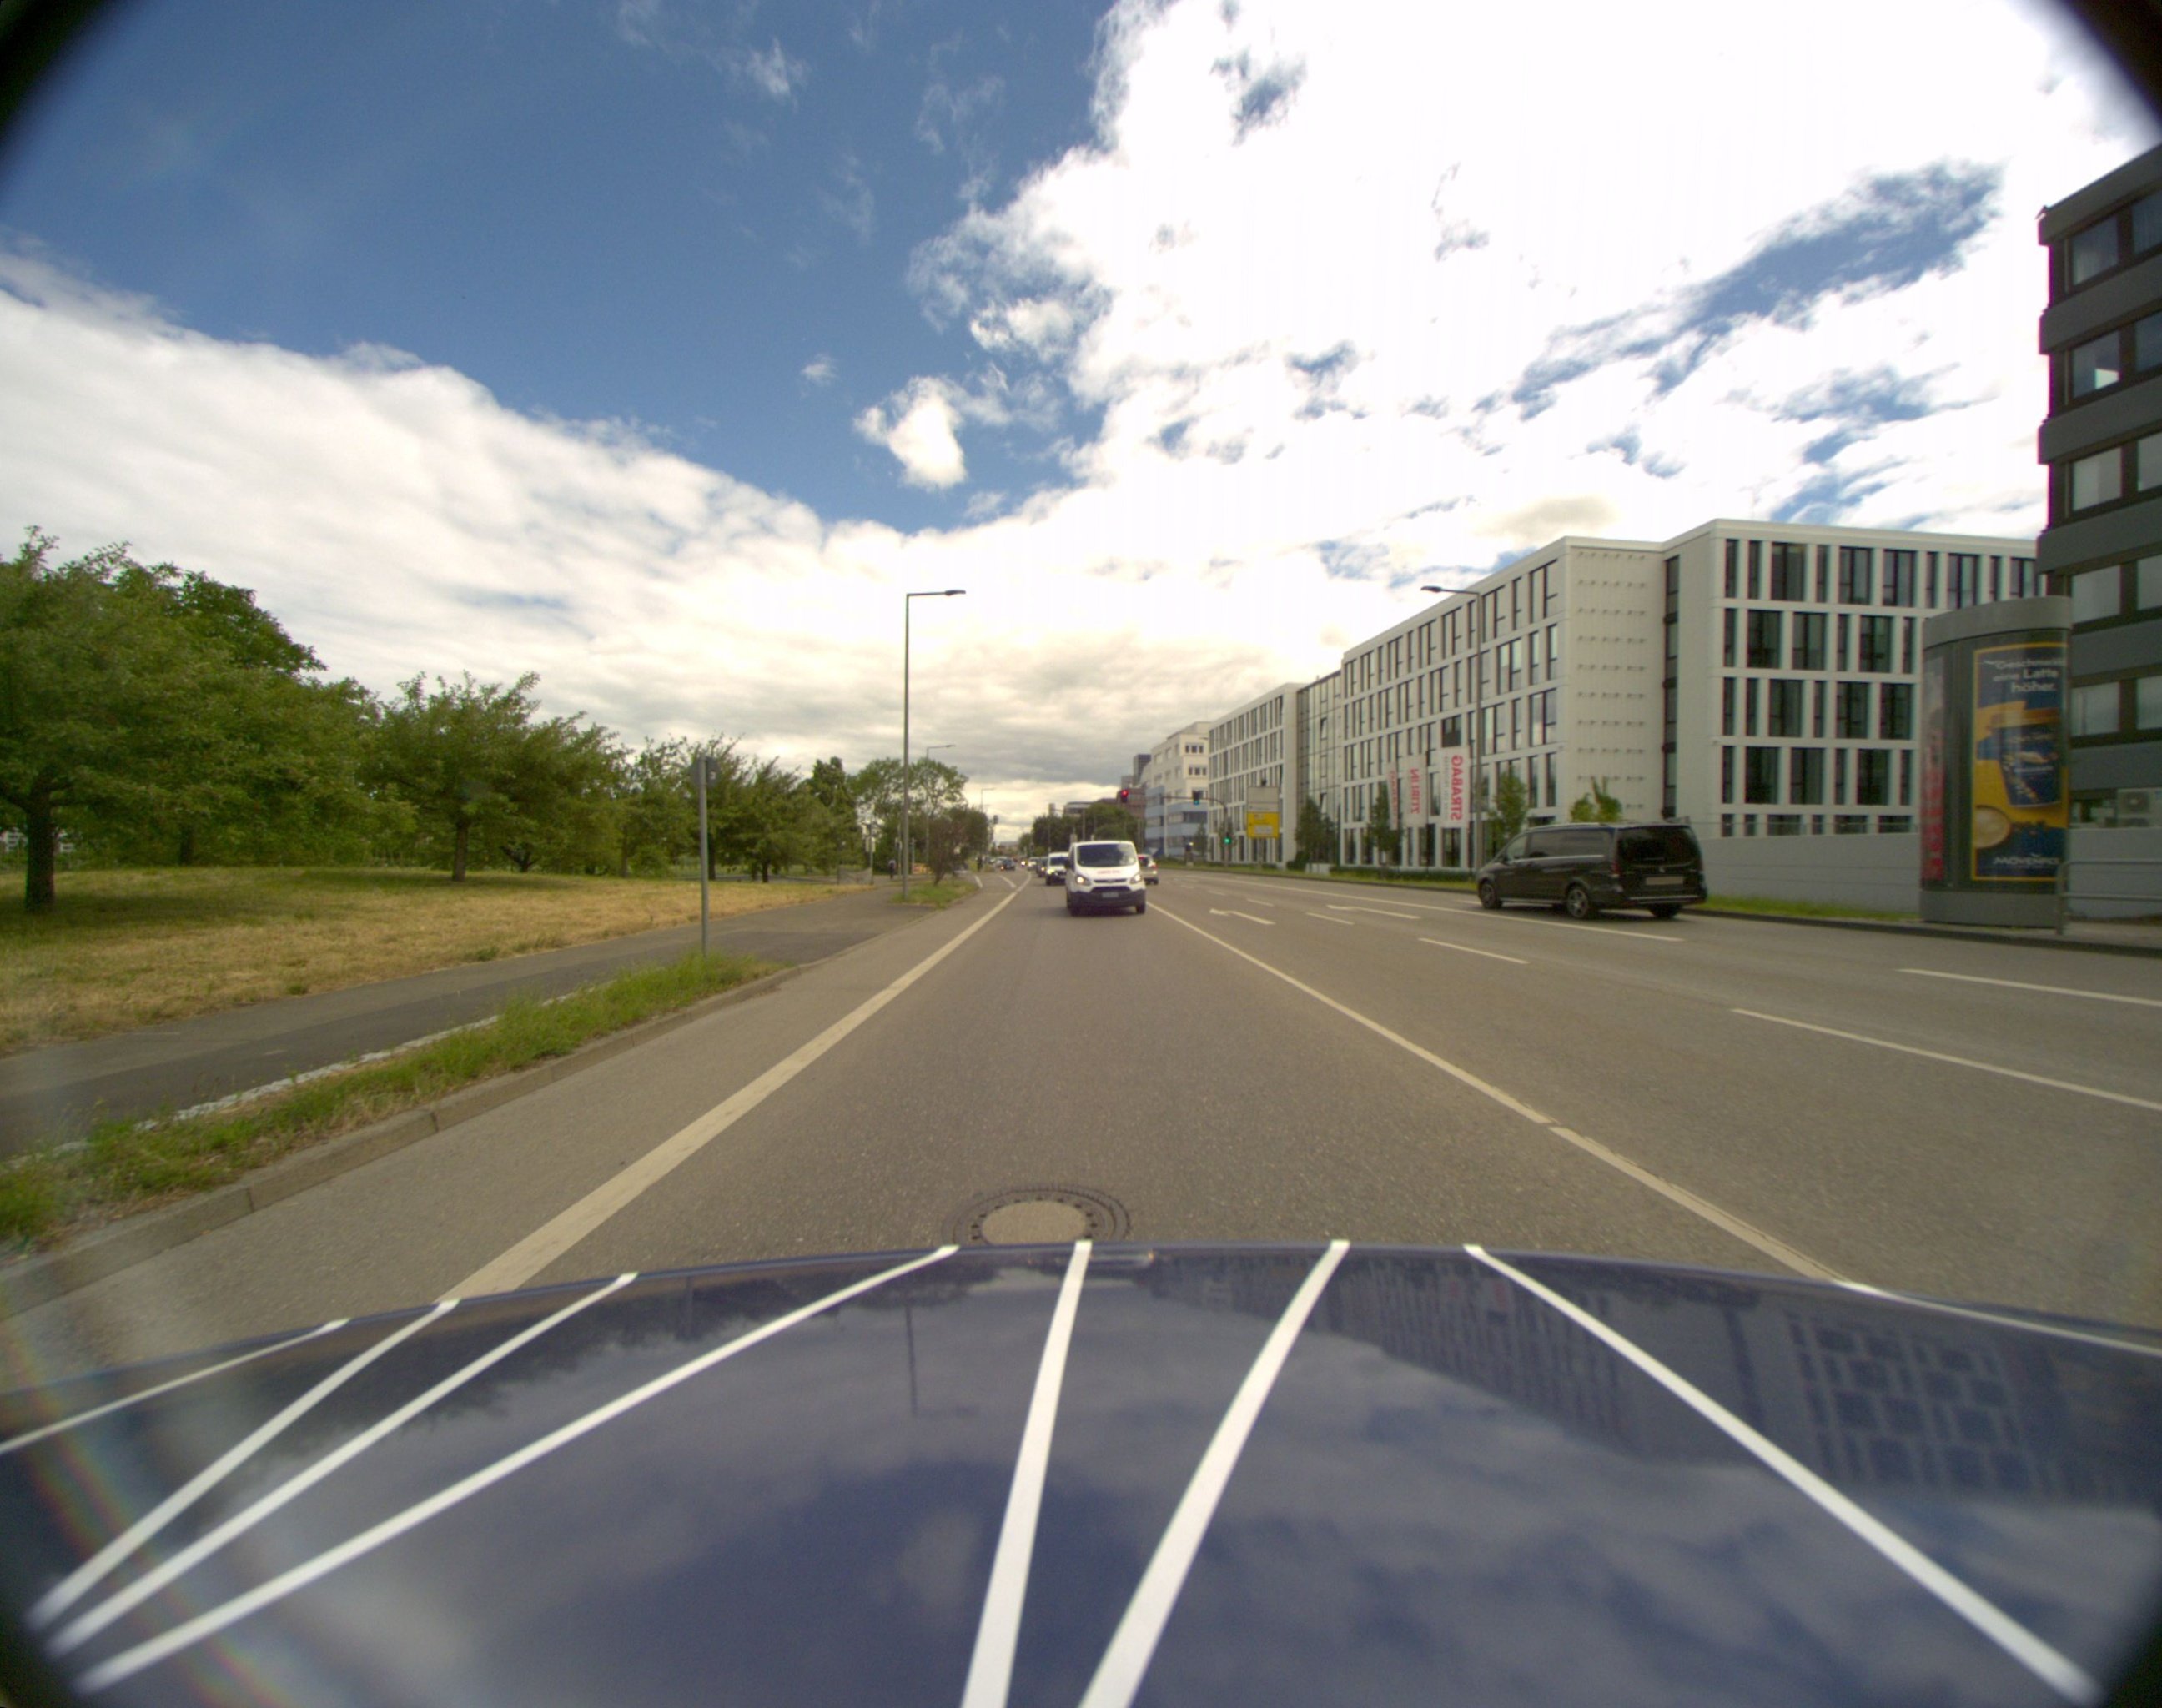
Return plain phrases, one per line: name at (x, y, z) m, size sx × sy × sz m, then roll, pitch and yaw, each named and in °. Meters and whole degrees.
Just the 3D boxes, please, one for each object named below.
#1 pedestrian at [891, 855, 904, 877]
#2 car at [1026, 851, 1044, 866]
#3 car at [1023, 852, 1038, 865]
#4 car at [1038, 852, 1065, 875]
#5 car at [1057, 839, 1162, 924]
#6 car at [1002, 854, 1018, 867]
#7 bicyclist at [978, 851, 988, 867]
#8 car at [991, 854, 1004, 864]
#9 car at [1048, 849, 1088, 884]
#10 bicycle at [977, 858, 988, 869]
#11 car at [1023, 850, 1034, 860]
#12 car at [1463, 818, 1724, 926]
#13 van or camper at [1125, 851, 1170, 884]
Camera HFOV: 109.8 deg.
pedestrian at (-15.573, 1.008, 64.547) m, size 0.802 × 1.872 × 0.764 m, roll -2°, pitch 1°, yaw -37°
car at (-5.318, 0.490, 87.672) m, size 1.873 × 1.685 × 4.369 m, roll -2°, pitch 0°, yaw -5°
car at (-7.318, 0.643, 110.304) m, size 1.873 × 1.685 × 4.368 m, roll -2°, pitch 0°, yaw -7°
car at (-2.369, 0.749, 60.230) m, size 1.873 × 1.685 × 4.369 m, roll -2°, pitch 0°, yaw -5°
car at (0.588, 0.642, 21.197) m, size 2.123 × 1.963 × 6.203 m, roll -2°, pitch 0°, yaw -5°
car at (-8.354, 0.755, 89.754) m, size 1.736 × 1.432 × 4.366 m, roll -2°, pitch 0°, yaw -5°
bicyclist at (-10.462, 0.523, 80.776) m, size 1.017 × 1.698 × 1.200 m, roll 0°, pitch 1°, yaw -10°
car at (-12.113, 0.739, 110.112) m, size 1.736 × 1.432 × 4.366 m, roll -2°, pitch 0°, yaw -5°
car at (-0.786, 0.670, 43.018) m, size 1.873 × 1.836 × 4.369 m, roll -2°, pitch 0°, yaw -5°
bicycle at (-10.467, 1.024, 80.763) m, size 1.017 × 1.127 × 2.673 m, roll 0°, pitch 0°, yaw -10°
car at (-10.060, 0.184, 145.241) m, size 1.873 × 1.685 × 4.368 m, roll -2°, pitch 0°, yaw -8°
car at (10.689, 0.325, 16.528) m, size 2.023 × 1.936 × 5.364 m, roll -1°, pitch 0°, yaw -1°
van or camper at (3.452, 0.685, 39.953) m, size 1.749 × 1.600 × 4.044 m, roll -2°, pitch 0°, yaw -3°
